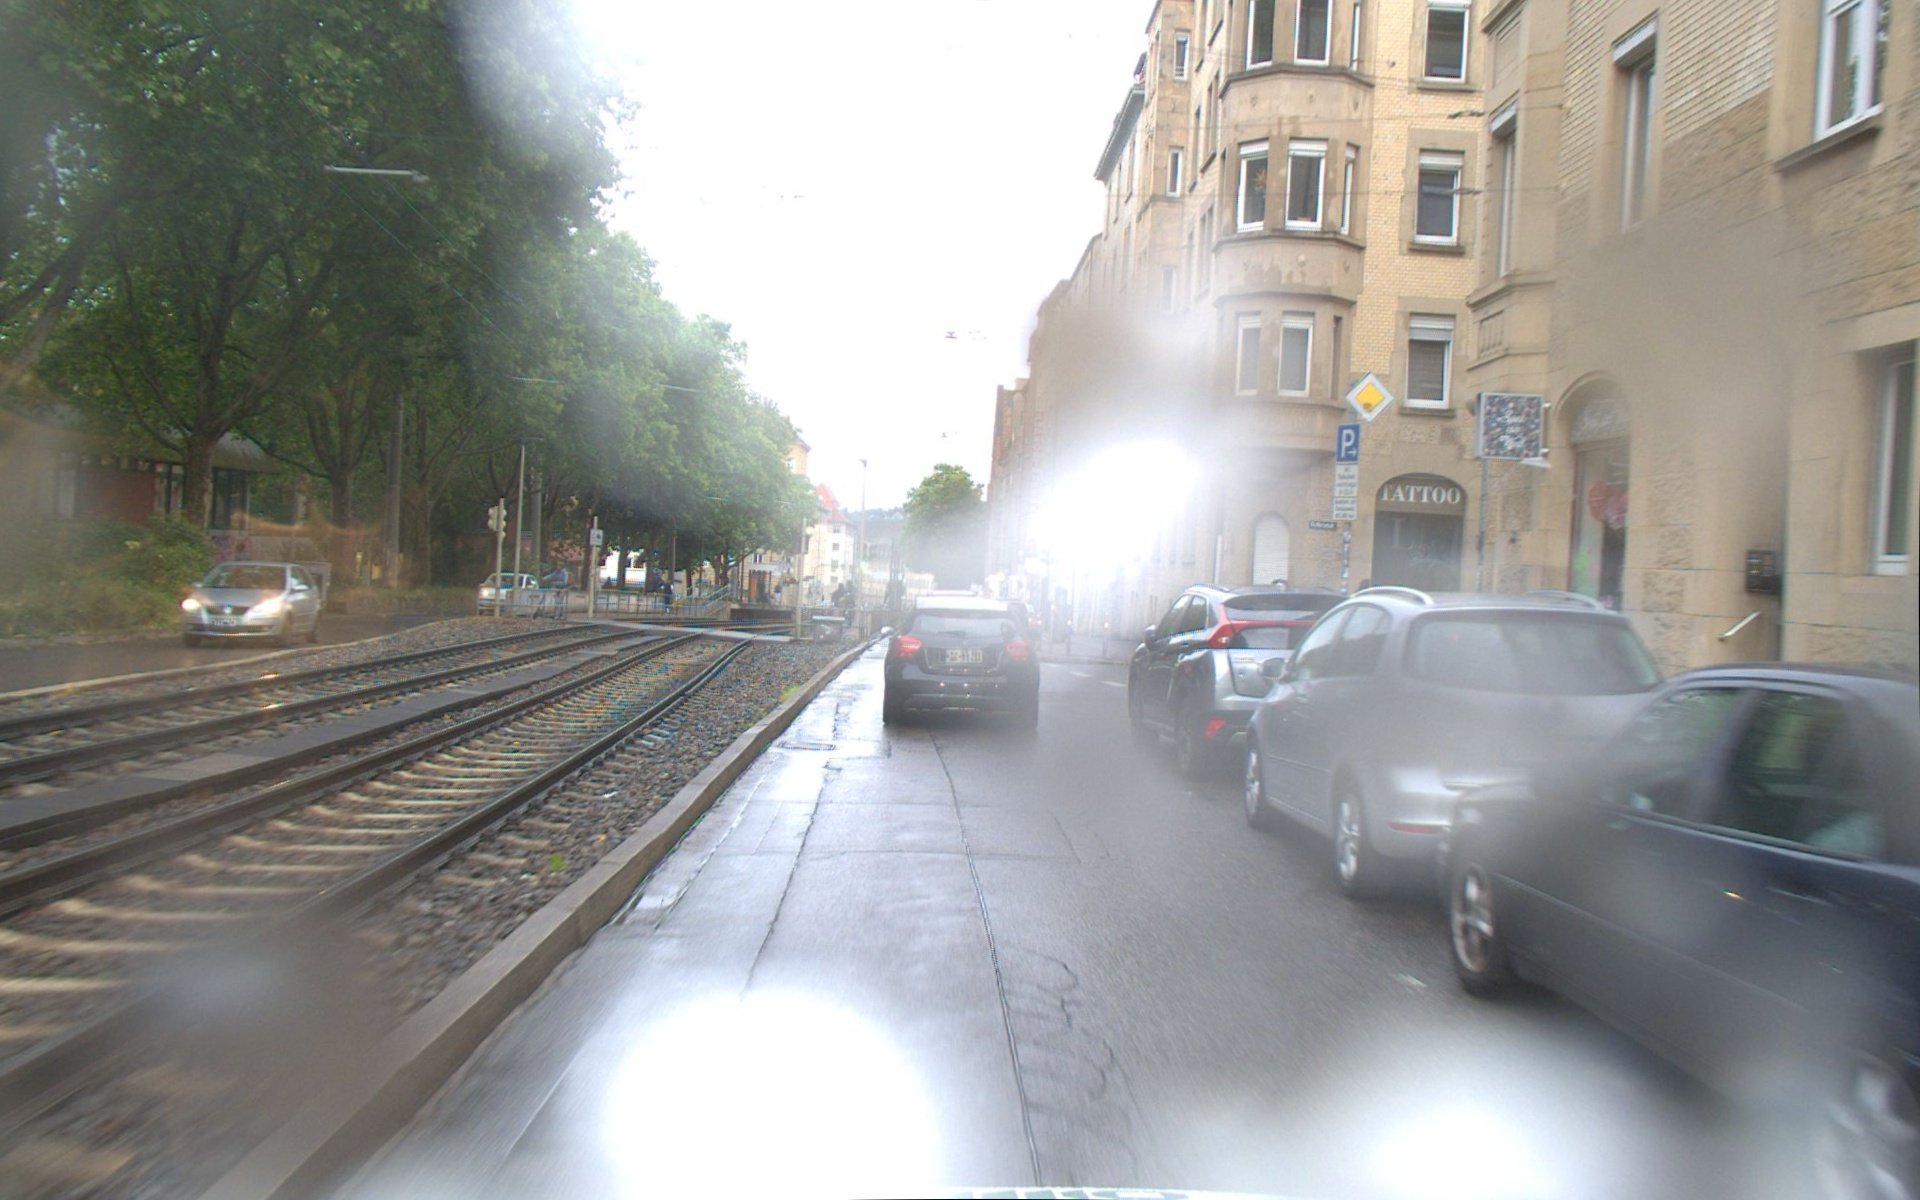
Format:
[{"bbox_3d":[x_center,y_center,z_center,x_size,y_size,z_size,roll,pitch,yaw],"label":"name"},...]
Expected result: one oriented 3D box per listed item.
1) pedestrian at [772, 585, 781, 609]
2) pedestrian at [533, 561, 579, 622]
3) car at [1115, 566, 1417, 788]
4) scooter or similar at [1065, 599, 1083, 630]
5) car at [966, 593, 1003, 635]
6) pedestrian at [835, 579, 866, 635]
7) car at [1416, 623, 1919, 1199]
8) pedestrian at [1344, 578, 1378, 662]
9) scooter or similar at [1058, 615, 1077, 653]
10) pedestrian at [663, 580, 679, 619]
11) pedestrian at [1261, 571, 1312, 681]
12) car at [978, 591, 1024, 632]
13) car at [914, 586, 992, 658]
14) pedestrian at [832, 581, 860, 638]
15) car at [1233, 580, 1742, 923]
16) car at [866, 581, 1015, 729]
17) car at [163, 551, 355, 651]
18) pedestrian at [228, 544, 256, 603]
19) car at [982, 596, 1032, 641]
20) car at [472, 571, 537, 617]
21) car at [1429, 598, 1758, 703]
[{"bbox_3d":[-13.544,-0.230,122.291,0.508,1.747,0.551,4,0,-1],"label":"pedestrian"},{"bbox_3d":[-11.951,-0.247,48.955,1.033,1.748,0.904,3,0,0],"label":"pedestrian"},{"bbox_3d":[2.659,0.610,15.422,1.731,1.697,4.330,3,0,-3],"label":"car"},{"bbox_3d":[5.167,0.656,74.882,0.440,1.344,1.774,0,0,-8],"label":"scooter or similar"},{"bbox_3d":[1.242,0.683,84.067,1.724,2.049,3.999,0,1,-1],"label":"car"},{"bbox_3d":[-4.006,0.252,60.447,1.115,2.033,1.171,0,0,-5],"label":"pedestrian"},{"bbox_3d":[2.906,0.833,4.969,1.683,1.370,4.460,3,0,-2],"label":"car"},{"bbox_3d":[8.283,0.407,34.138,0.536,1.717,0.626,1,0,3],"label":"pedestrian"},{"bbox_3d":[3.898,1.219,60.070,0.439,1.344,1.776,0,0,-4],"label":"scooter or similar"},{"bbox_3d":[-13.431,-0.012,76.850,0.523,1.784,0.607,4,0,-1],"label":"pedestrian"},{"bbox_3d":[5.444,0.428,27.612,0.680,1.818,0.758,0,0,-2],"label":"pedestrian"},{"bbox_3d":[1.677,0.462,68.784,1.724,1.606,3.999,0,1,-1],"label":"car"},{"bbox_3d":[-0.197,0.495,39.909,1.749,1.608,3.999,2,0,-1],"label":"car"},{"bbox_3d":[-3.367,0.271,48.900,0.789,1.662,0.892,0,0,-1],"label":"pedestrian"},{"bbox_3d":[2.829,0.711,9.822,1.659,1.556,3.999,2,0,-1],"label":"car"},{"bbox_3d":[-0.252,0.582,19.478,1.548,1.531,3.573,2,0,-2],"label":"car"},{"bbox_3d":[-12.074,0.000,28.802,1.782,1.531,4.627,2,0,-7],"label":"car"},{"bbox_3d":[-20.985,-0.759,48.355,0.682,1.691,0.638,1,0,-20],"label":"pedestrian"},{"bbox_3d":[1.786,0.685,64.115,1.790,1.646,3.863,0,1,-1],"label":"car"},{"bbox_3d":[-15.855,-0.223,57.702,1.627,1.523,3.780,2,0,-8],"label":"car"},{"bbox_3d":[9.648,0.746,25.450,4.358,1.510,1.864,0,0,2],"label":"car"}]
